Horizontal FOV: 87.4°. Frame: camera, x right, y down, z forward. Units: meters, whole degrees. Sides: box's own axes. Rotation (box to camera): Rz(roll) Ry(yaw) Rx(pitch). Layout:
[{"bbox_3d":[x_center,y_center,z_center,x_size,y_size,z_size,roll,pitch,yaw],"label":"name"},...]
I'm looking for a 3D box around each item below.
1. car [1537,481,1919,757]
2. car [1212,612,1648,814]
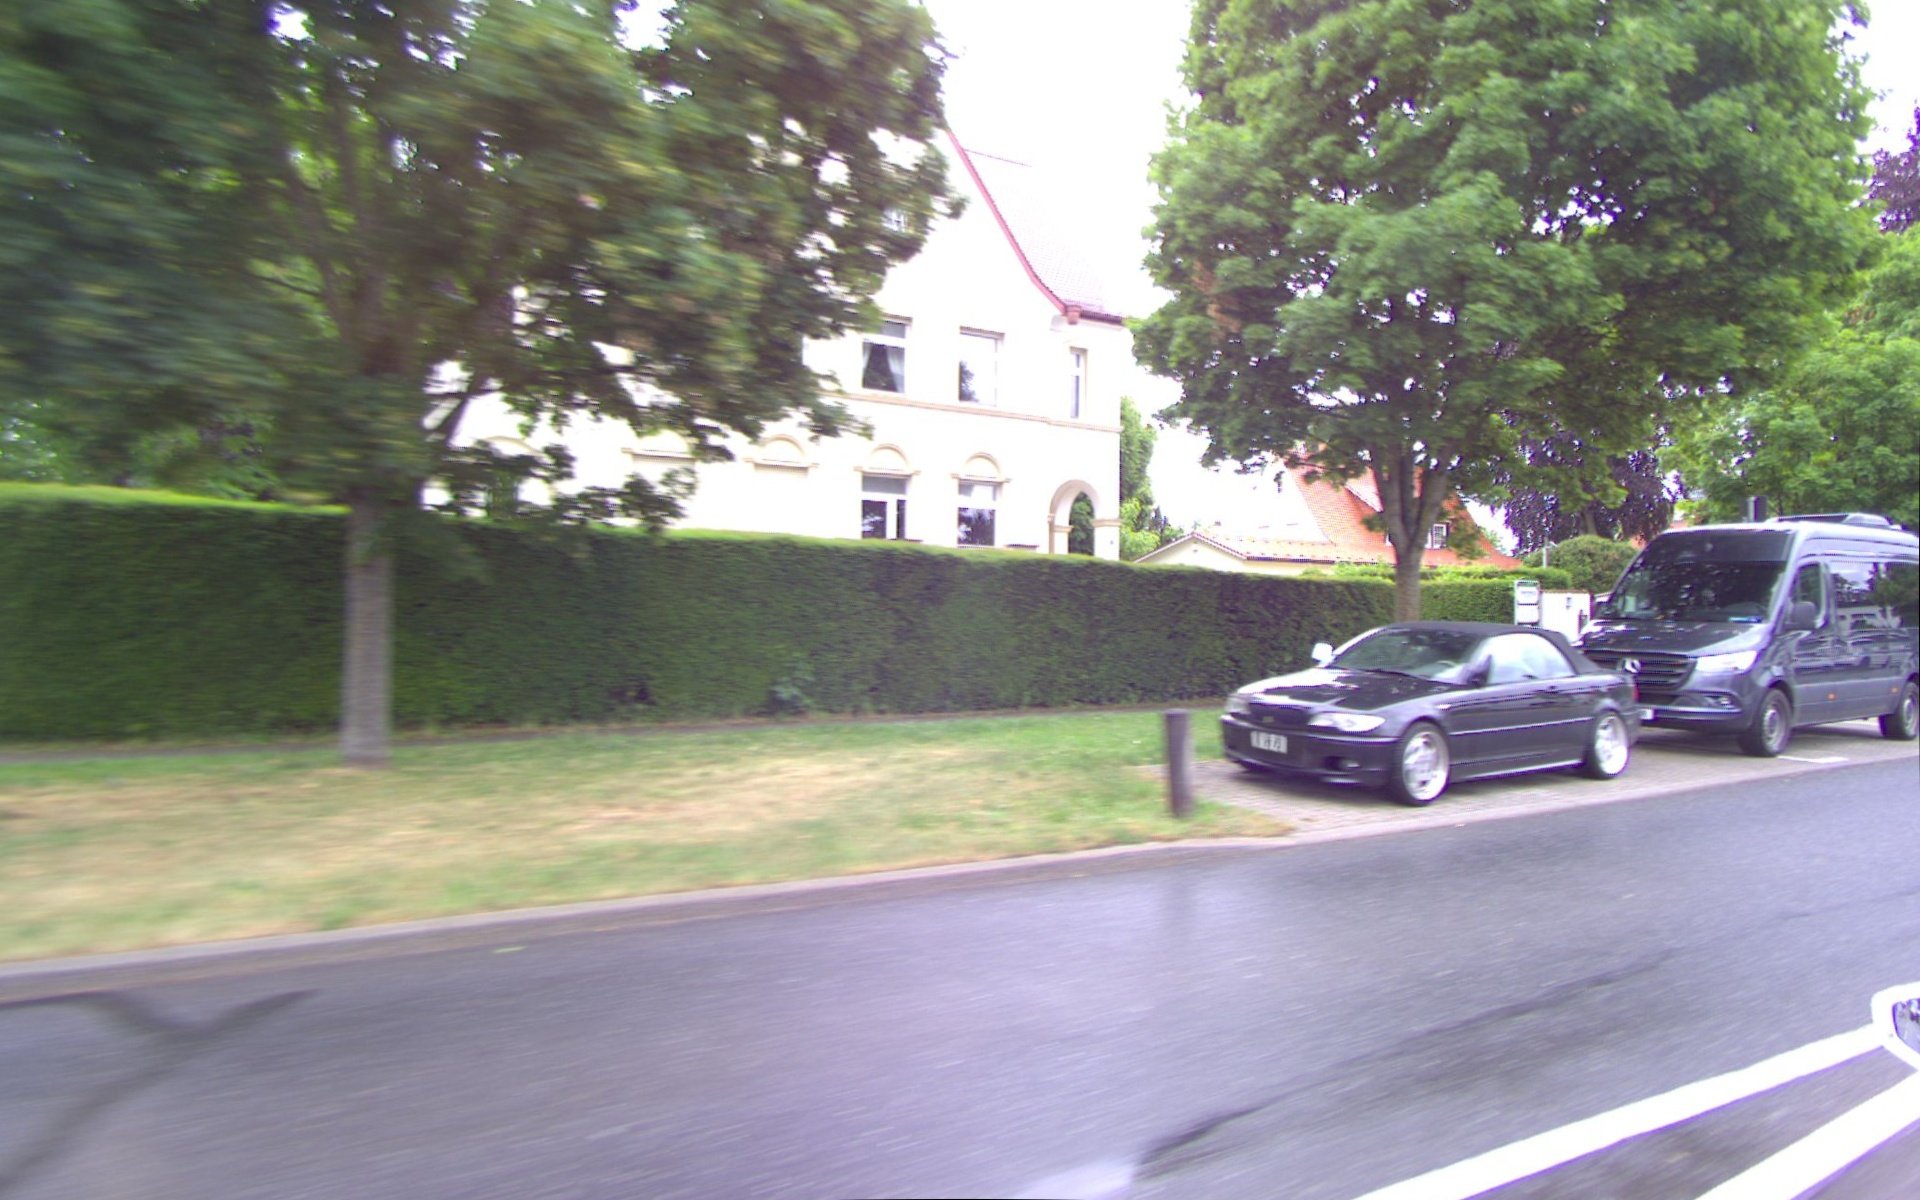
[{"bbox_3d":[9.840,0.216,12.394,5.867,2.765,1.984,1,1,-30],"label":"car"},{"bbox_3d":[4.249,0.837,8.975,3.781,1.427,1.714,0,0,-31],"label":"car"}]
